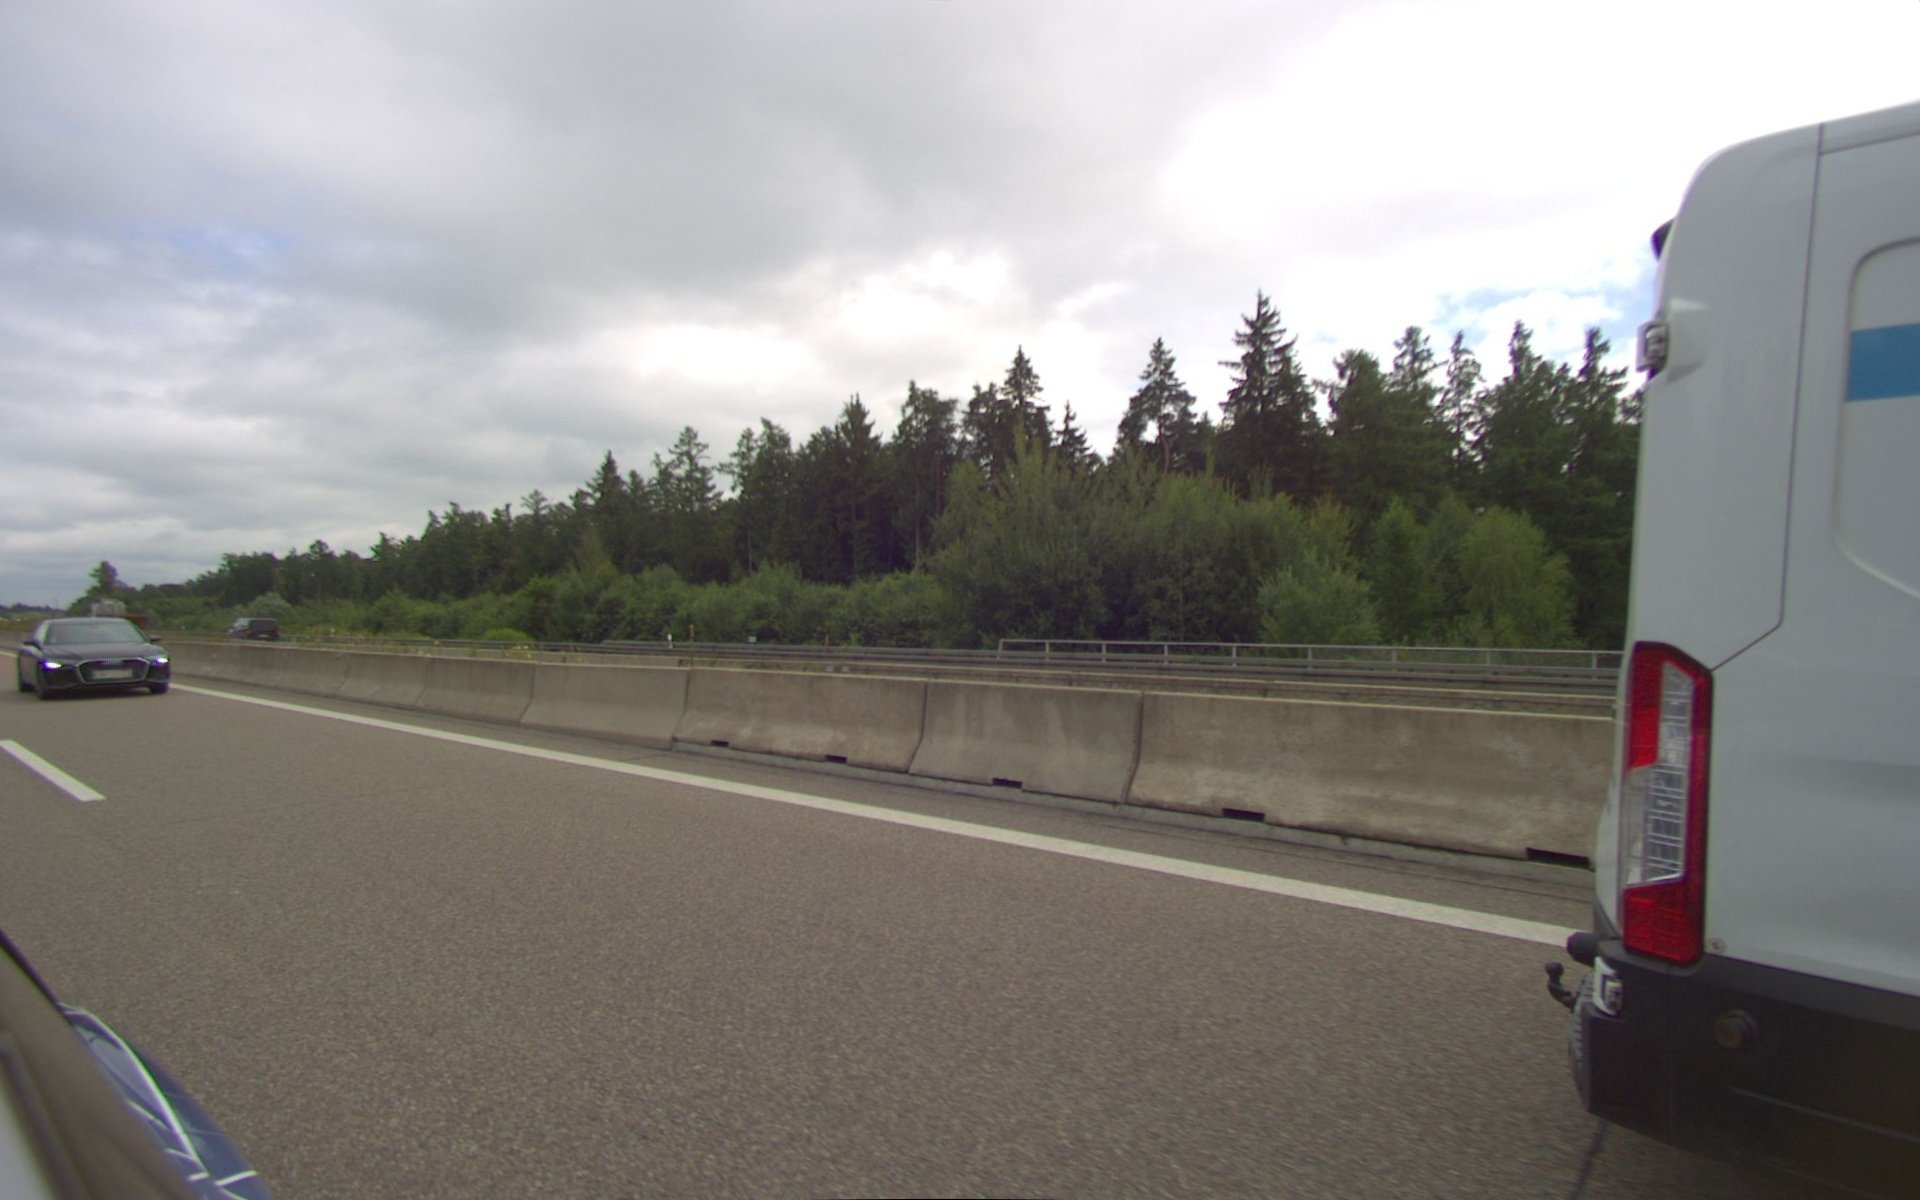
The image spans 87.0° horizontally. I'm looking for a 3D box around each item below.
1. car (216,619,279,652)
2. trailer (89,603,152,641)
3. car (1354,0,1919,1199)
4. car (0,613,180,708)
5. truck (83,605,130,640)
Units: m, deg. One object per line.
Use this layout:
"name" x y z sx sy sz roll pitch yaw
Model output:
"car" -47.369 2.319 67.221 5.266 2.028 2.231 -1 1 42
"trailer" -82.230 2.150 99.007 13.267 3.445 2.903 -1 0 42
"car" 4.245 0.118 0.666 7.127 2.526 2.115 -1 -1 41
"car" -17.151 1.077 19.812 5.674 1.562 2.062 -1 0 43
"truck" -87.646 2.273 103.910 5.343 3.445 2.903 -1 0 42
